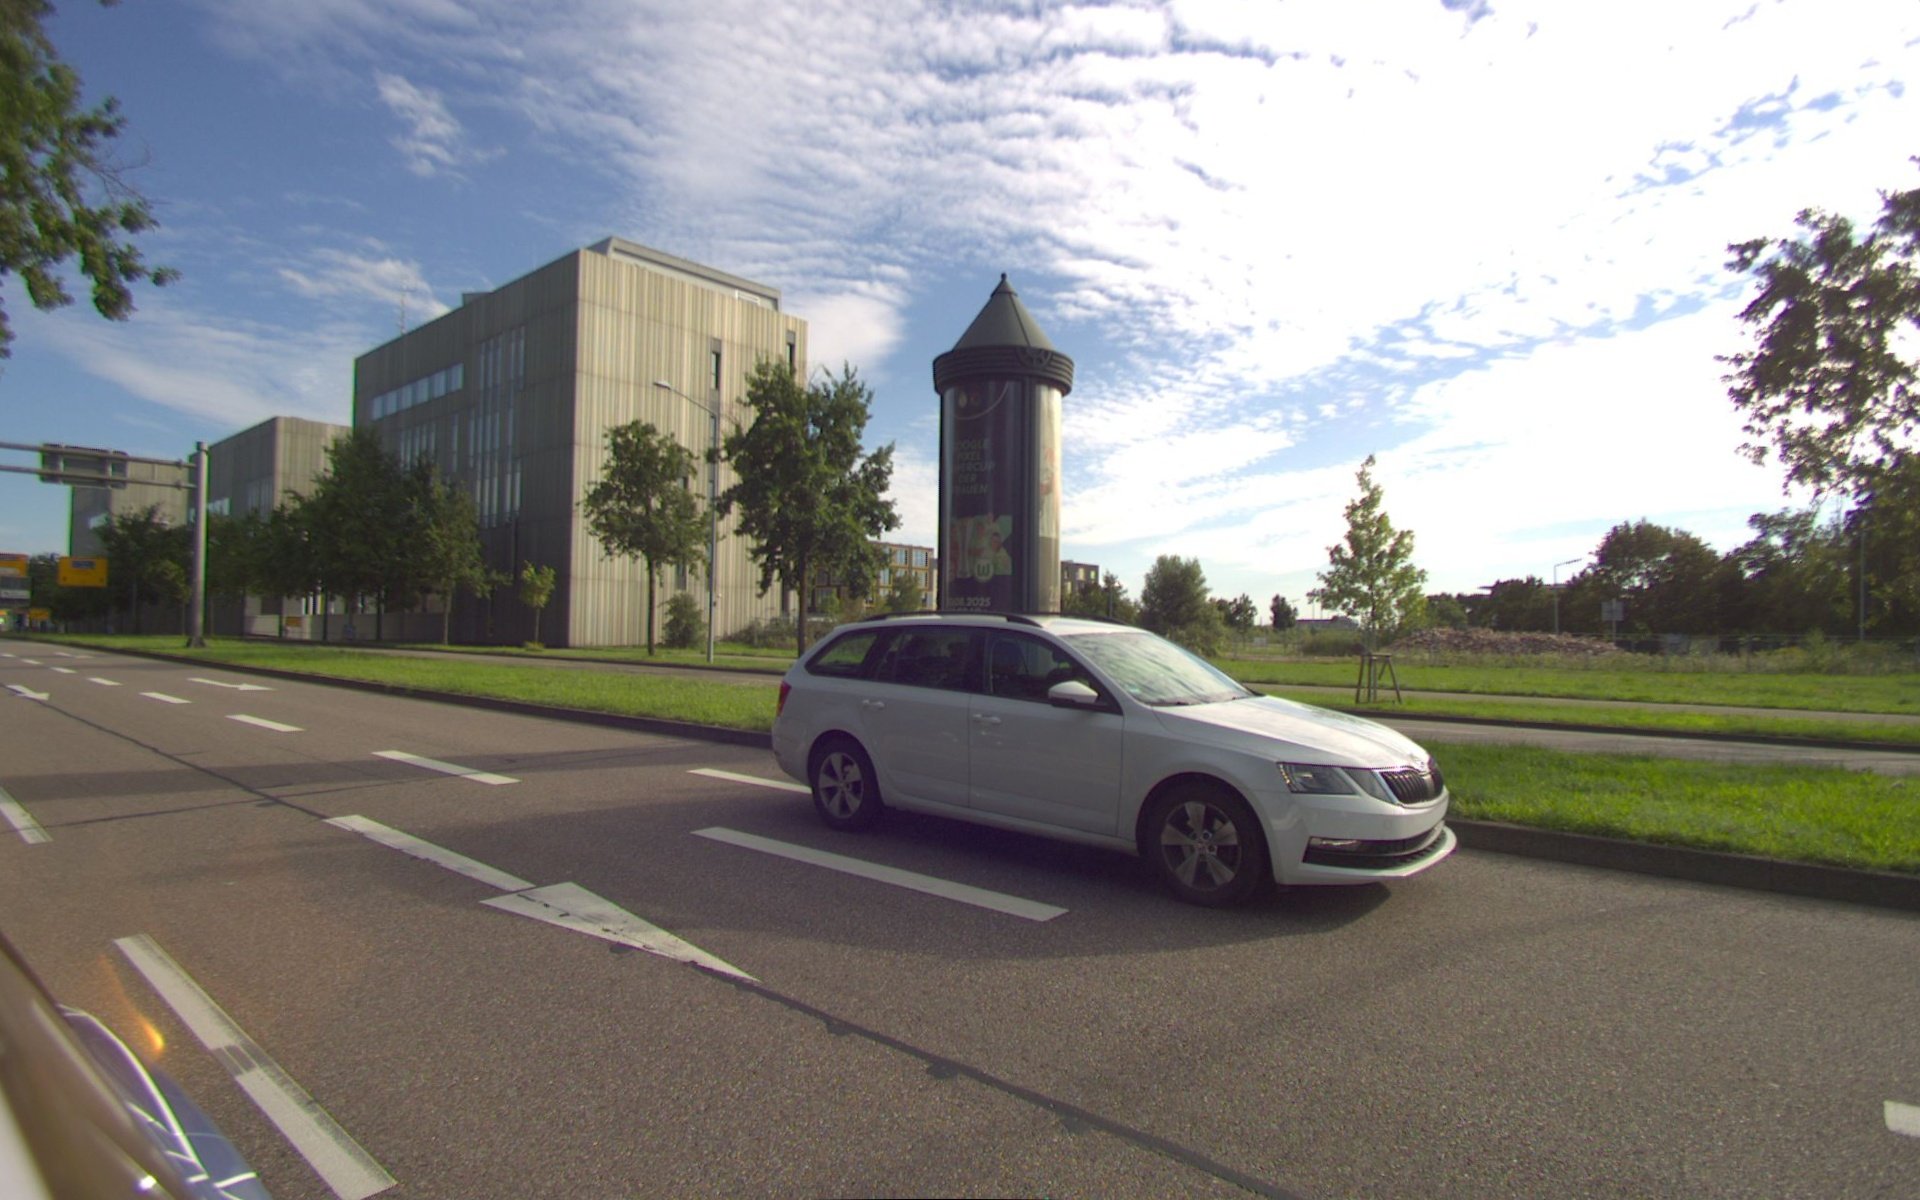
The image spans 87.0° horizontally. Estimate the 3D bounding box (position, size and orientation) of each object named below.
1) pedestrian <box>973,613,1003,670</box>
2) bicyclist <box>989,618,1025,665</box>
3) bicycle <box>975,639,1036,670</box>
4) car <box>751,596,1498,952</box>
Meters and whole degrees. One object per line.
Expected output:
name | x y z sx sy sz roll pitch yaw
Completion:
pedestrian | 1.023 1.507 36.922 0.867 2.029 0.667 -1 -3 41
bicyclist | 1.576 1.373 33.838 0.989 1.537 0.698 -1 -3 41
bicycle | 1.508 1.829 33.885 1.910 0.989 0.885 -1 -3 41
car | 0.736 0.773 6.425 4.479 1.510 1.681 -1 -1 41
